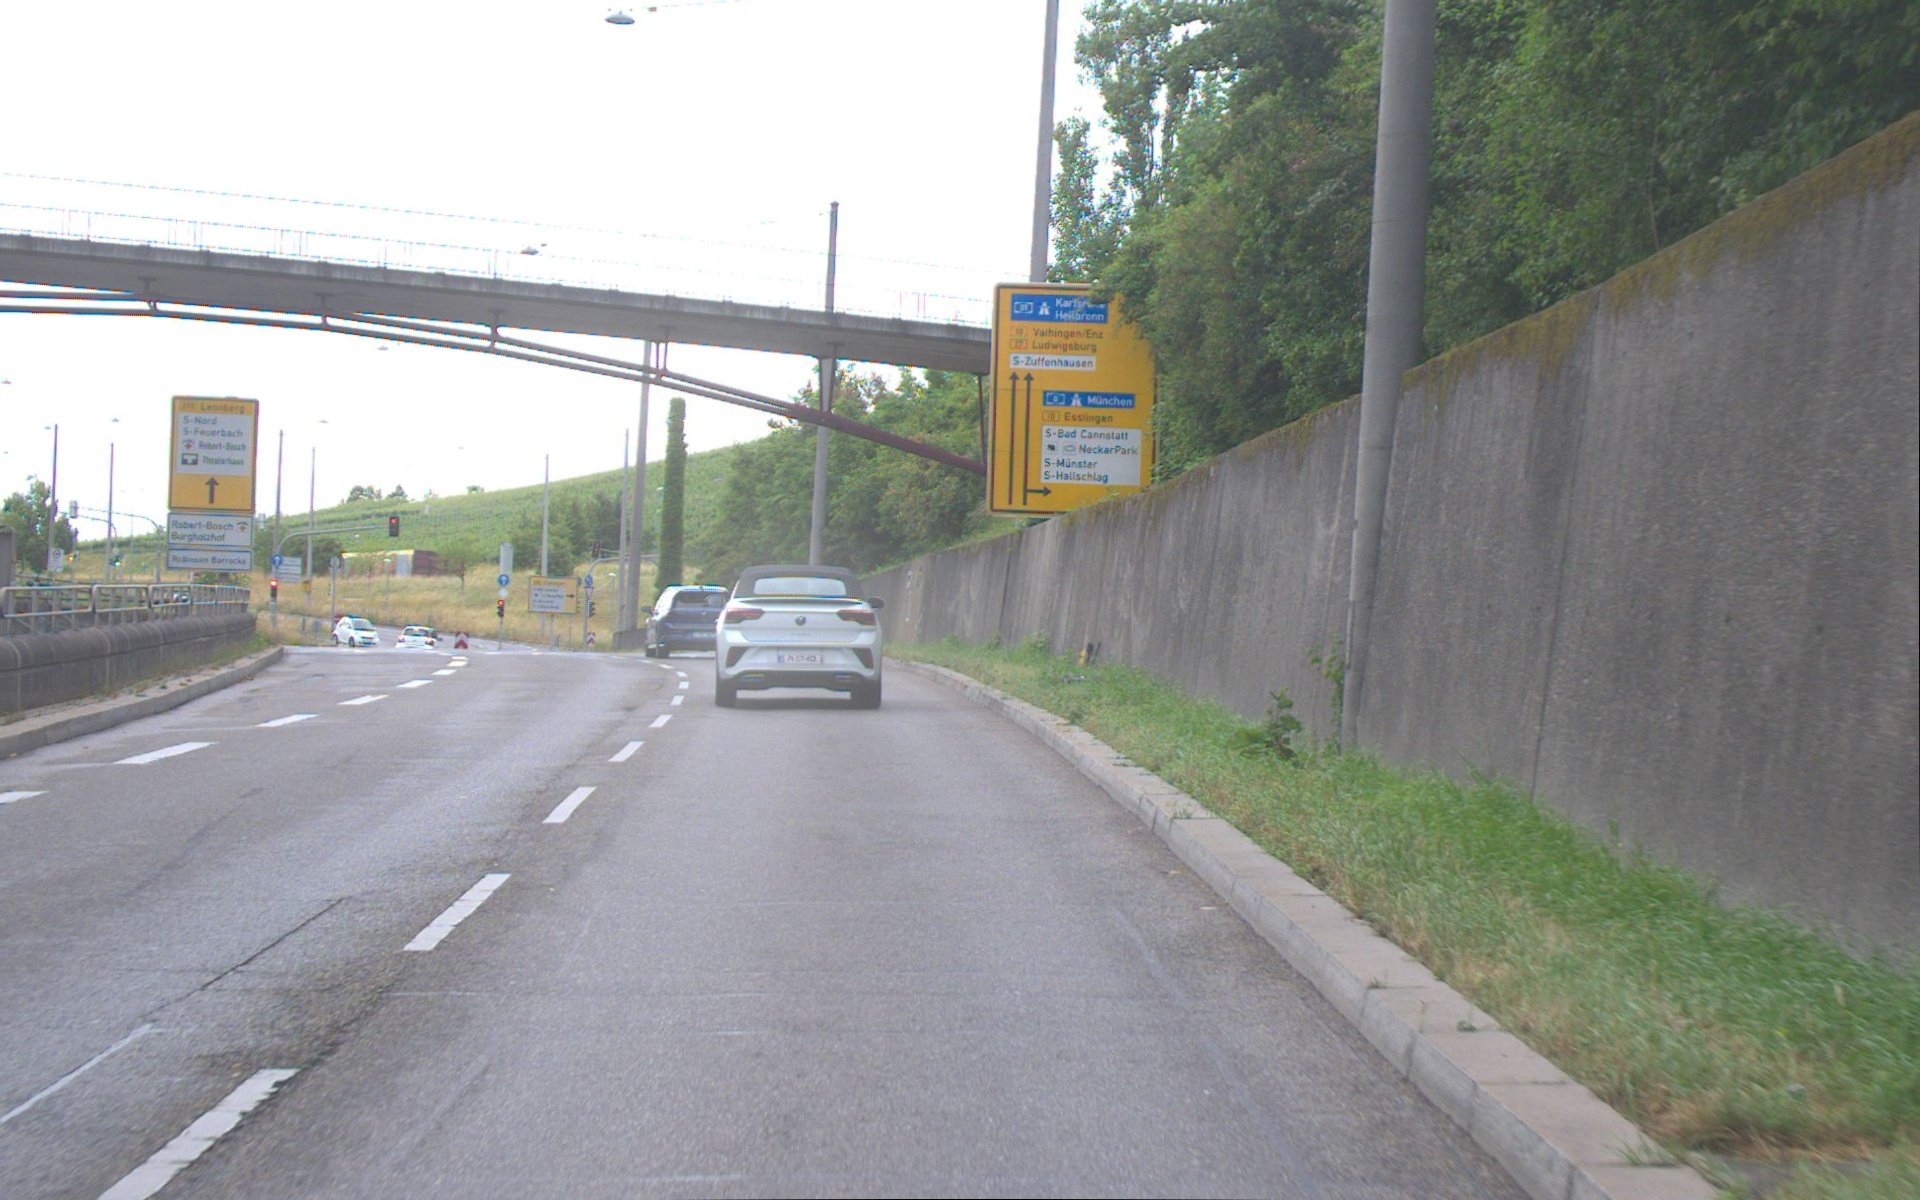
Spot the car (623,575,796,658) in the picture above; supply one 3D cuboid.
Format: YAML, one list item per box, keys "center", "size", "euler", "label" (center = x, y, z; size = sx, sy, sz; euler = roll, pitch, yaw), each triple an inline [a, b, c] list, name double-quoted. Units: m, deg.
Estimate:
- center: [-5.010, 0.308, 69.328]
  size: [1.928, 1.594, 4.057]
  euler: [0, 1, 21]
  label: "car"

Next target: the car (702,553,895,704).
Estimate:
- center: [-1.835, 0.276, 37.946]
  size: [1.995, 1.573, 4.126]
  euler: [0, 1, -5]
  label: "car"

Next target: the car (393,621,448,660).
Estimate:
- center: [-24.228, 1.832, 154.515]
  size: [1.774, 1.514, 3.724]
  euler: [5, -2, 0]
  label: "car"
